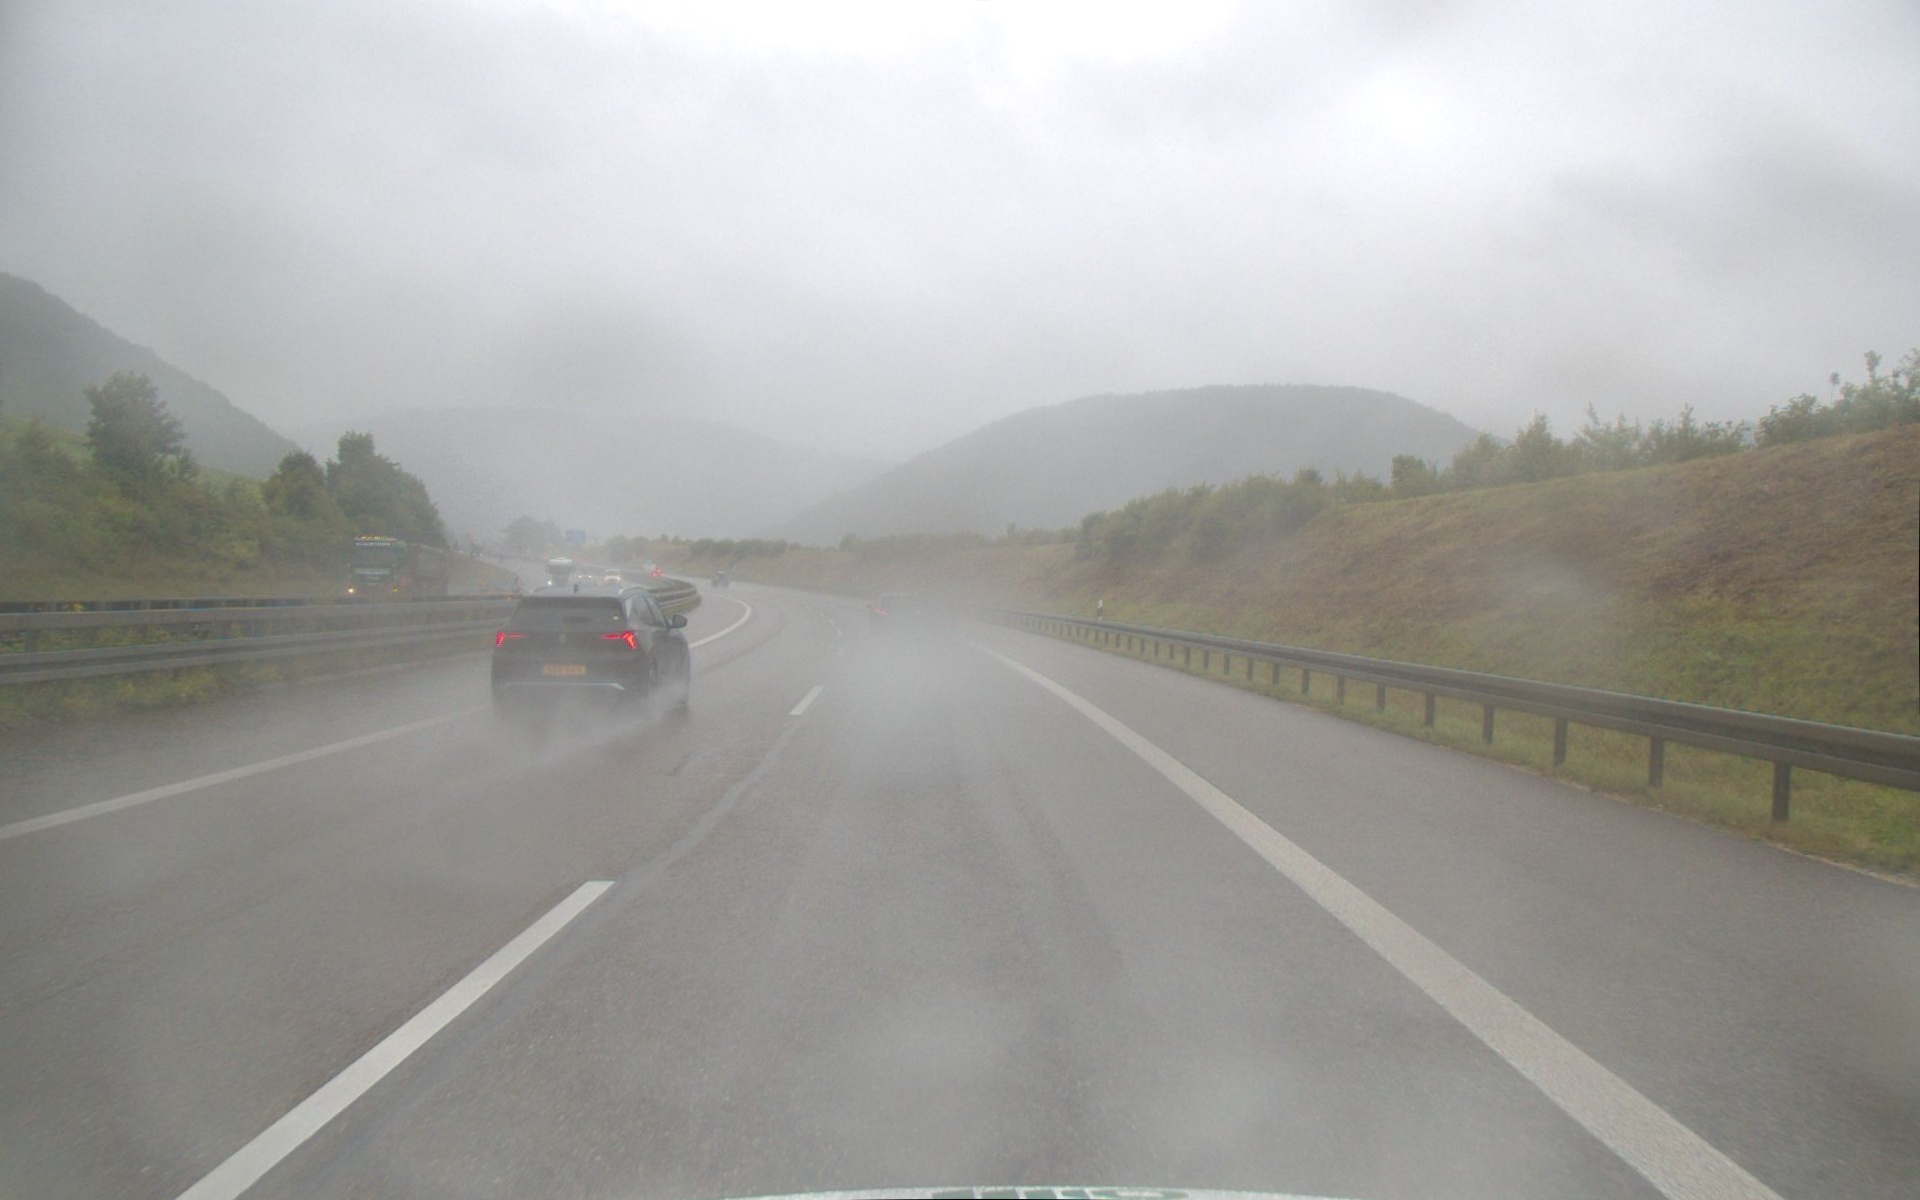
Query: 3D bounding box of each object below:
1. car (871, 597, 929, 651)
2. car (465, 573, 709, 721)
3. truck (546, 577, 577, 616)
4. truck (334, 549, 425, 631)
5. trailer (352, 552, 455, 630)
[{"bbox_3d":[-1.804,0.701,50.272,1.645,1.498,3.813,2,0,-2],"label":"car"},{"bbox_3d":[-4.434,0.525,20.503,2.360,1.542,4.777,2,0,-6],"label":"car"},{"bbox_3d":[-40.877,-0.362,169.804,2.832,3.868,5.302,0,0,-10],"label":"truck"},{"bbox_3d":[-26.627,-0.462,76.122,2.663,3.604,5.305,1,0,-5],"label":"truck"},{"bbox_3d":[-27.056,-0.447,80.854,2.667,3.552,9.384,1,0,-6],"label":"trailer"}]
